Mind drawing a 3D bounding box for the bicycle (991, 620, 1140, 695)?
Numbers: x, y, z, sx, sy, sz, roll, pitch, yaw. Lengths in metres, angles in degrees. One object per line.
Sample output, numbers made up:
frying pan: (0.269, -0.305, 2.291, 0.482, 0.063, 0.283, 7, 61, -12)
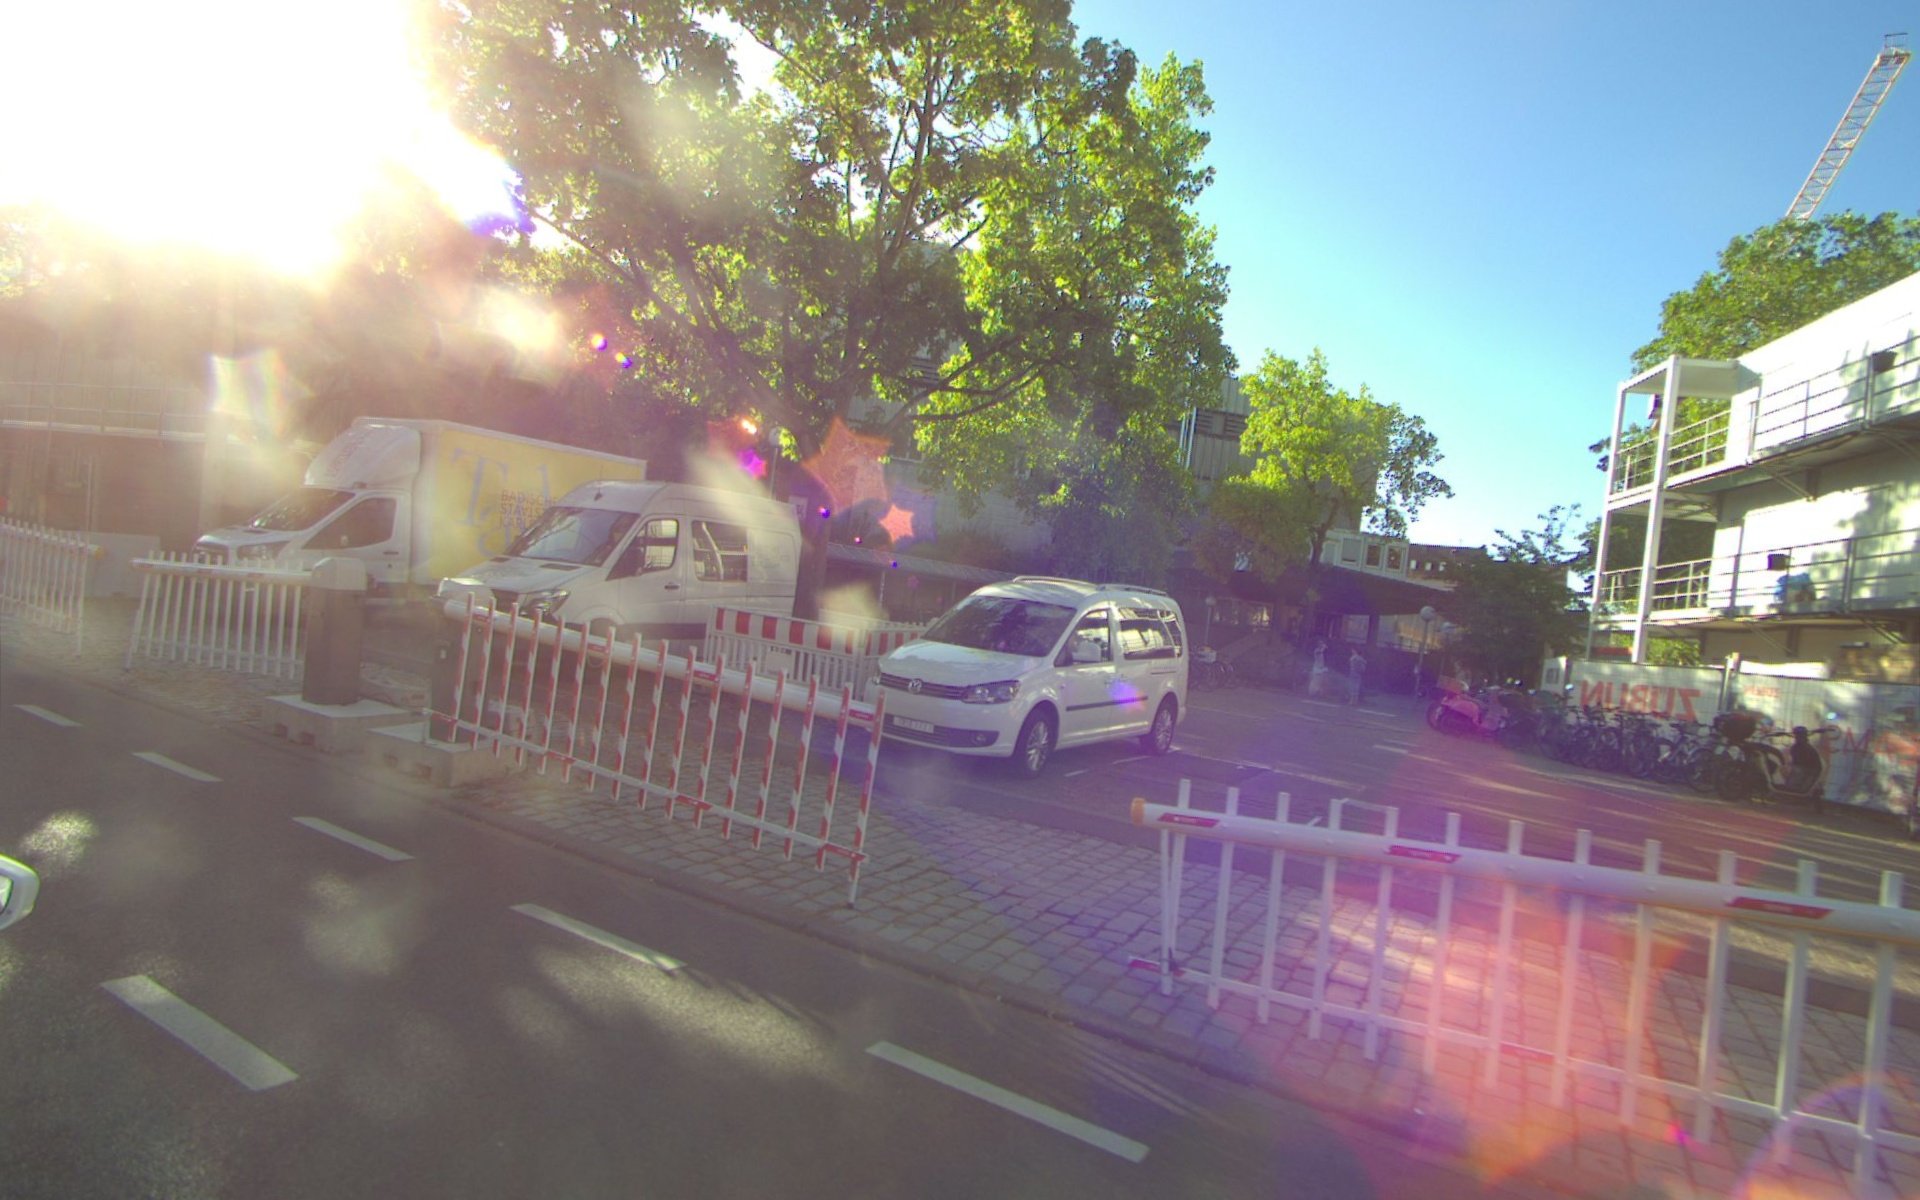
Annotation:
bicycle: (2.161, 1.180, 21.014, 3.044, 1.162, 0.818, 7, 0, 39)

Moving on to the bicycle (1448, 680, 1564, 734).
bicycle: (16.004, 3.115, 29.556, 2.797, 1.162, 0.818, 7, 0, 39)

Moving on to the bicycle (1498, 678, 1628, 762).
bicycle: (11.002, 2.187, 18.365, 2.014, 1.273, 0.542, 7, 1, -8)

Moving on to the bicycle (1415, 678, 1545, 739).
bicycle: (13.549, 2.810, 26.281, 2.797, 1.162, 0.818, 7, 0, 39)

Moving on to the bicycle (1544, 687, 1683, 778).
bicycle: (11.147, 2.257, 17.181, 2.014, 1.273, 0.542, 7, 1, -8)

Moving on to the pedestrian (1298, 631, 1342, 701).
pedestrian: (11.050, 2.026, 30.874, 0.791, 2.039, 0.934, 7, 1, 40)

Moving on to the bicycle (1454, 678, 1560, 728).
bicycle: (17.575, 3.291, 32.395, 2.797, 1.162, 0.818, 7, 0, 39)

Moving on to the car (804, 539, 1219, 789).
car: (0.839, 0.607, 10.766, 1.979, 1.917, 4.929, 7, 2, 35)

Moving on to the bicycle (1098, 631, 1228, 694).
bicycle: (4.977, 1.529, 24.877, 3.044, 1.162, 0.818, 7, 0, 39)

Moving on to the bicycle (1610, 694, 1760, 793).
bicycle: (11.248, 2.230, 15.616, 2.014, 1.273, 0.470, 7, 1, -8)

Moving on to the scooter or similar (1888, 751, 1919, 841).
scooter or similar: (12.130, 2.462, 12.708, 1.477, 1.033, 0.381, 7, 1, -42)

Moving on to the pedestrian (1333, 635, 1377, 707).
pedestrian: (11.993, 2.137, 30.567, 0.788, 2.039, 1.031, 7, 1, 6)

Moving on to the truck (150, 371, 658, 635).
truck: (-8.773, -1.287, 16.980, 2.350, 3.391, 7.104, 7, 1, 30)

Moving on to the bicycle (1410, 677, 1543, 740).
bicycle: (13.091, 2.728, 25.550, 2.797, 1.162, 0.818, 7, 0, 39)

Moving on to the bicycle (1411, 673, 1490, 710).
bicycle: (20.447, 3.797, 41.992, 2.792, 1.162, 0.819, 7, 1, 33)

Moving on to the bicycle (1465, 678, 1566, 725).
bicycle: (18.747, 3.420, 34.029, 2.797, 1.162, 0.818, 7, 0, 39)

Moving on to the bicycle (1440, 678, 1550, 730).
bicycle: (16.396, 3.180, 30.890, 2.797, 1.162, 0.818, 7, 0, 39)

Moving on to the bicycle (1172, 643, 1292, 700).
bicycle: (7.544, 1.969, 28.042, 3.044, 1.162, 0.818, 7, 0, 39)

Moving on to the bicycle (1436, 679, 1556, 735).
bicycle: (15.201, 3.010, 28.600, 2.797, 1.162, 0.818, 7, 0, 39)

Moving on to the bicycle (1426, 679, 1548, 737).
bicycle: (14.557, 2.954, 27.844, 2.797, 1.162, 0.818, 7, 0, 39)

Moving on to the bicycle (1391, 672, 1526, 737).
bicycle: (12.286, 2.562, 24.877, 2.797, 1.162, 0.818, 7, 0, 39)

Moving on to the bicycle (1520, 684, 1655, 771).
bicycle: (11.073, 2.245, 17.769, 2.014, 1.273, 0.542, 7, 1, -8)

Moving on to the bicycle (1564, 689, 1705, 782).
bicycle: (11.140, 2.232, 16.626, 2.014, 1.273, 0.470, 7, 1, -8)

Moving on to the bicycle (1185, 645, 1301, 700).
bicycle: (8.069, 2.061, 28.810, 3.044, 1.162, 0.818, 7, 0, 39)

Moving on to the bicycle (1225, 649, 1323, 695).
bicycle: (10.800, 2.472, 34.723, 3.044, 1.162, 0.818, 7, 0, 39)

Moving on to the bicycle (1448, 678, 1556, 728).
bicycle: (17.029, 3.222, 31.675, 2.797, 1.162, 0.818, 7, 0, 39)

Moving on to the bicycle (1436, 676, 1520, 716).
bicycle: (20.472, 3.756, 39.758, 2.792, 1.162, 0.819, 7, 1, 33)

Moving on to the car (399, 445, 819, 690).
car: (-4.363, -0.368, 13.631, 1.965, 2.565, 5.368, 7, 3, 27)

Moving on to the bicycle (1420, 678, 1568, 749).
bicycle: (12.184, 2.568, 23.048, 2.797, 1.162, 0.818, 7, 0, 39)

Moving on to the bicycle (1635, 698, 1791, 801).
bicycle: (11.324, 2.247, 15.144, 2.014, 1.273, 0.470, 7, 1, -8)

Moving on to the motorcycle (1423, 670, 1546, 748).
motorcycle: (10.512, 2.185, 20.176, 2.173, 1.273, 0.542, 7, 1, -8)

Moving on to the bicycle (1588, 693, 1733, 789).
bicycle: (11.205, 2.251, 16.105, 2.014, 1.273, 0.470, 7, 1, -8)

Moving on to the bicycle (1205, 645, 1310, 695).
bicycle: (9.454, 2.224, 32.109, 3.044, 1.162, 0.818, 7, 0, 39)

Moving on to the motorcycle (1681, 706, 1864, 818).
motorcycle: (11.330, 2.260, 14.044, 2.173, 1.273, 0.542, 7, 1, -8)

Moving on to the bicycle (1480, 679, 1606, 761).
bicycle: (10.981, 2.252, 18.962, 2.014, 1.273, 0.542, 7, 1, -8)

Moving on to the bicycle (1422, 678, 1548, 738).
bicycle: (14.079, 2.871, 27.054, 2.797, 1.162, 0.818, 7, 0, 39)

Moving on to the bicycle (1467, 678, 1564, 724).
bicycle: (19.367, 3.510, 35.122, 2.797, 1.162, 0.818, 7, 0, 39)
